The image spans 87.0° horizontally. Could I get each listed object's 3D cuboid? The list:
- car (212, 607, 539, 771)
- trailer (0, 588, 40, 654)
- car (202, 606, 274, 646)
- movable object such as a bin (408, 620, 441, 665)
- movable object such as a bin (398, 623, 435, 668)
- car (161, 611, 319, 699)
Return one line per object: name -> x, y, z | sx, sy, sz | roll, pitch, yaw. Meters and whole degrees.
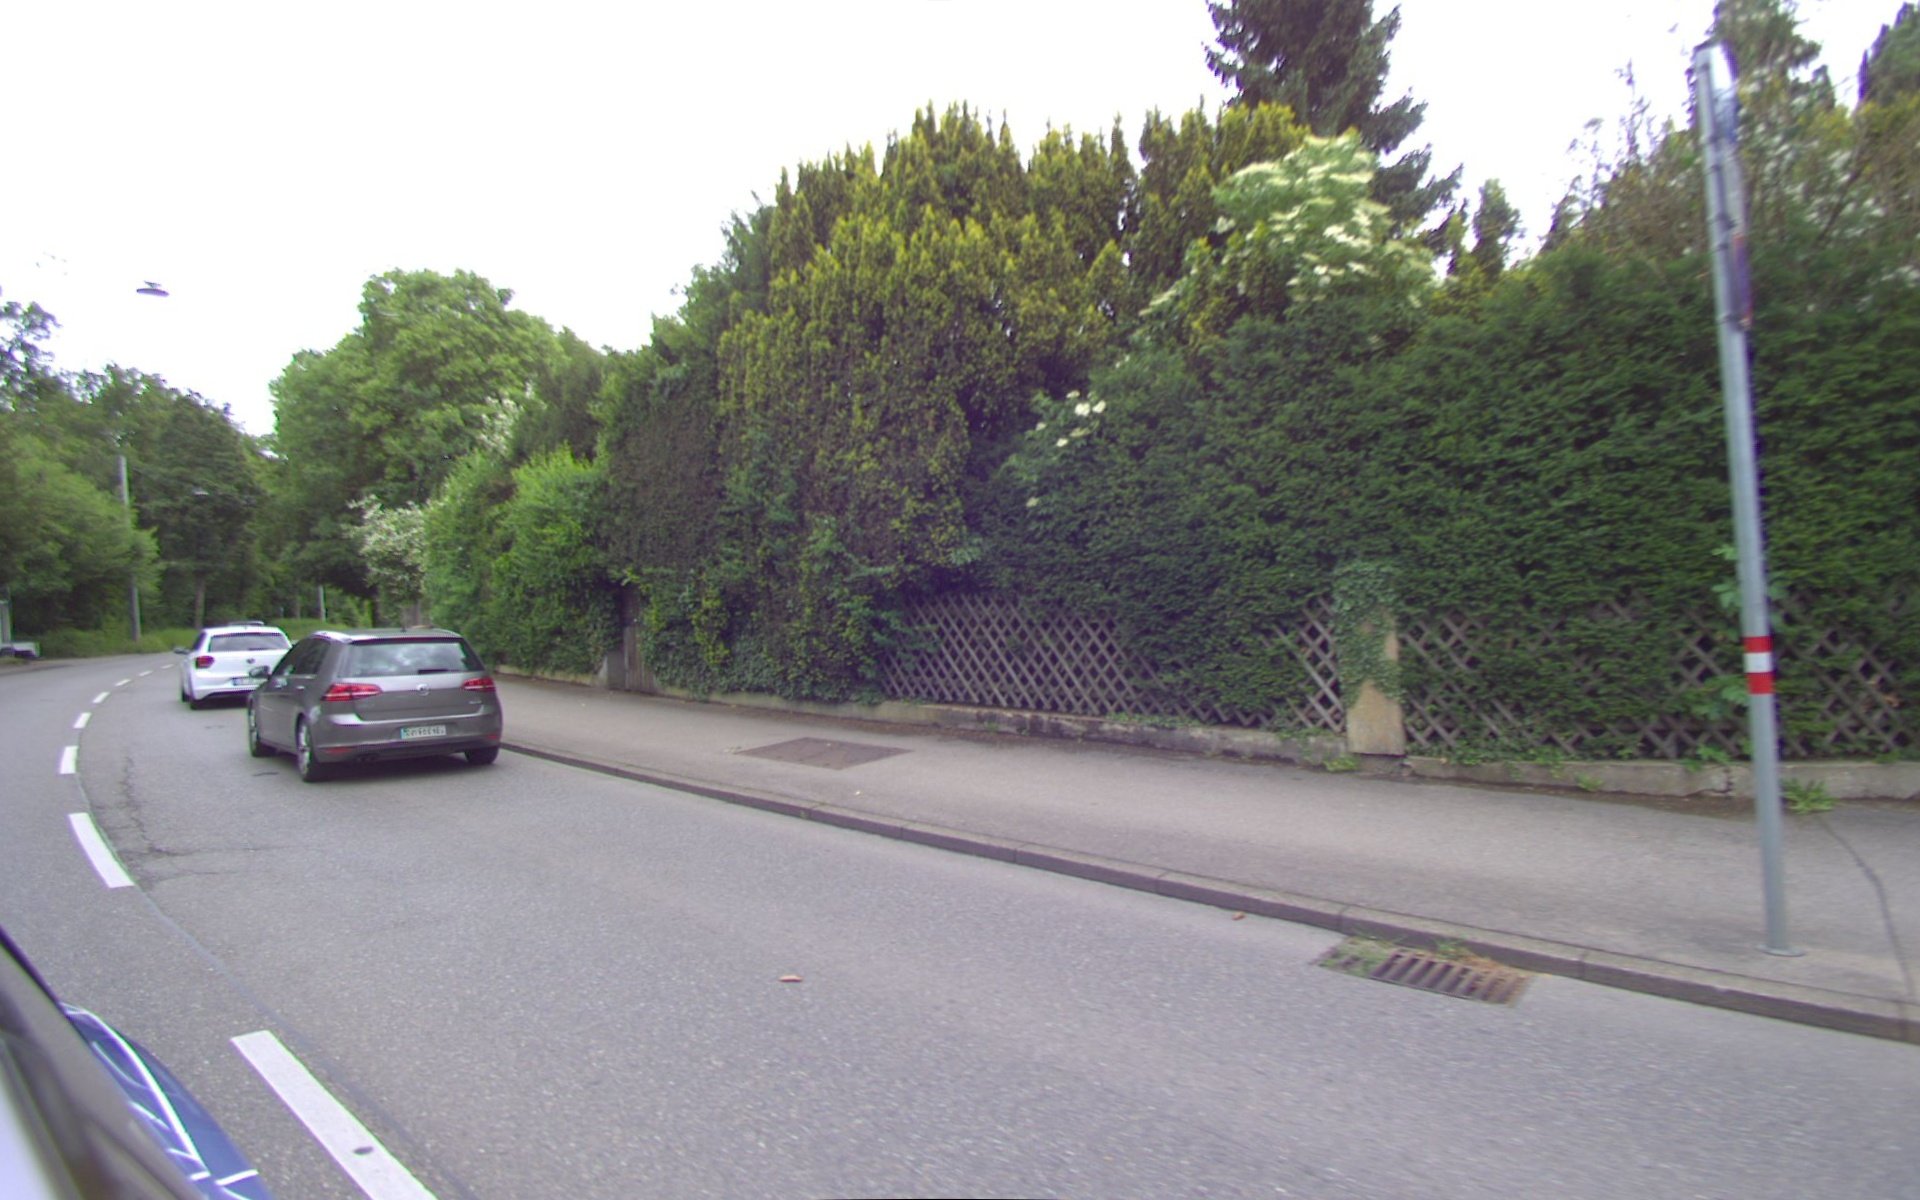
car -> -6.320, 0.825, 10.777 | 3.908, 1.409, 1.893 | -2, -1, 42
trailer -> -43.006, 0.957, 44.812 | 3.074, 2.921, 1.597 | -2, 0, -32
car -> -30.747, 1.076, 43.206 | 1.965, 1.630, 4.013 | 1, 0, -28
movable object such as a bin -> -14.497, 1.132, 27.406 | 0.621, 1.153, 0.648 | -4, 1, -38
movable object such as a bin -> -15.025, 1.247, 27.975 | 0.731, 1.150, 0.648 | -4, 1, -38
car -> -13.709, 0.987, 19.183 | 1.880, 1.465, 3.799 | 0, -1, -44
